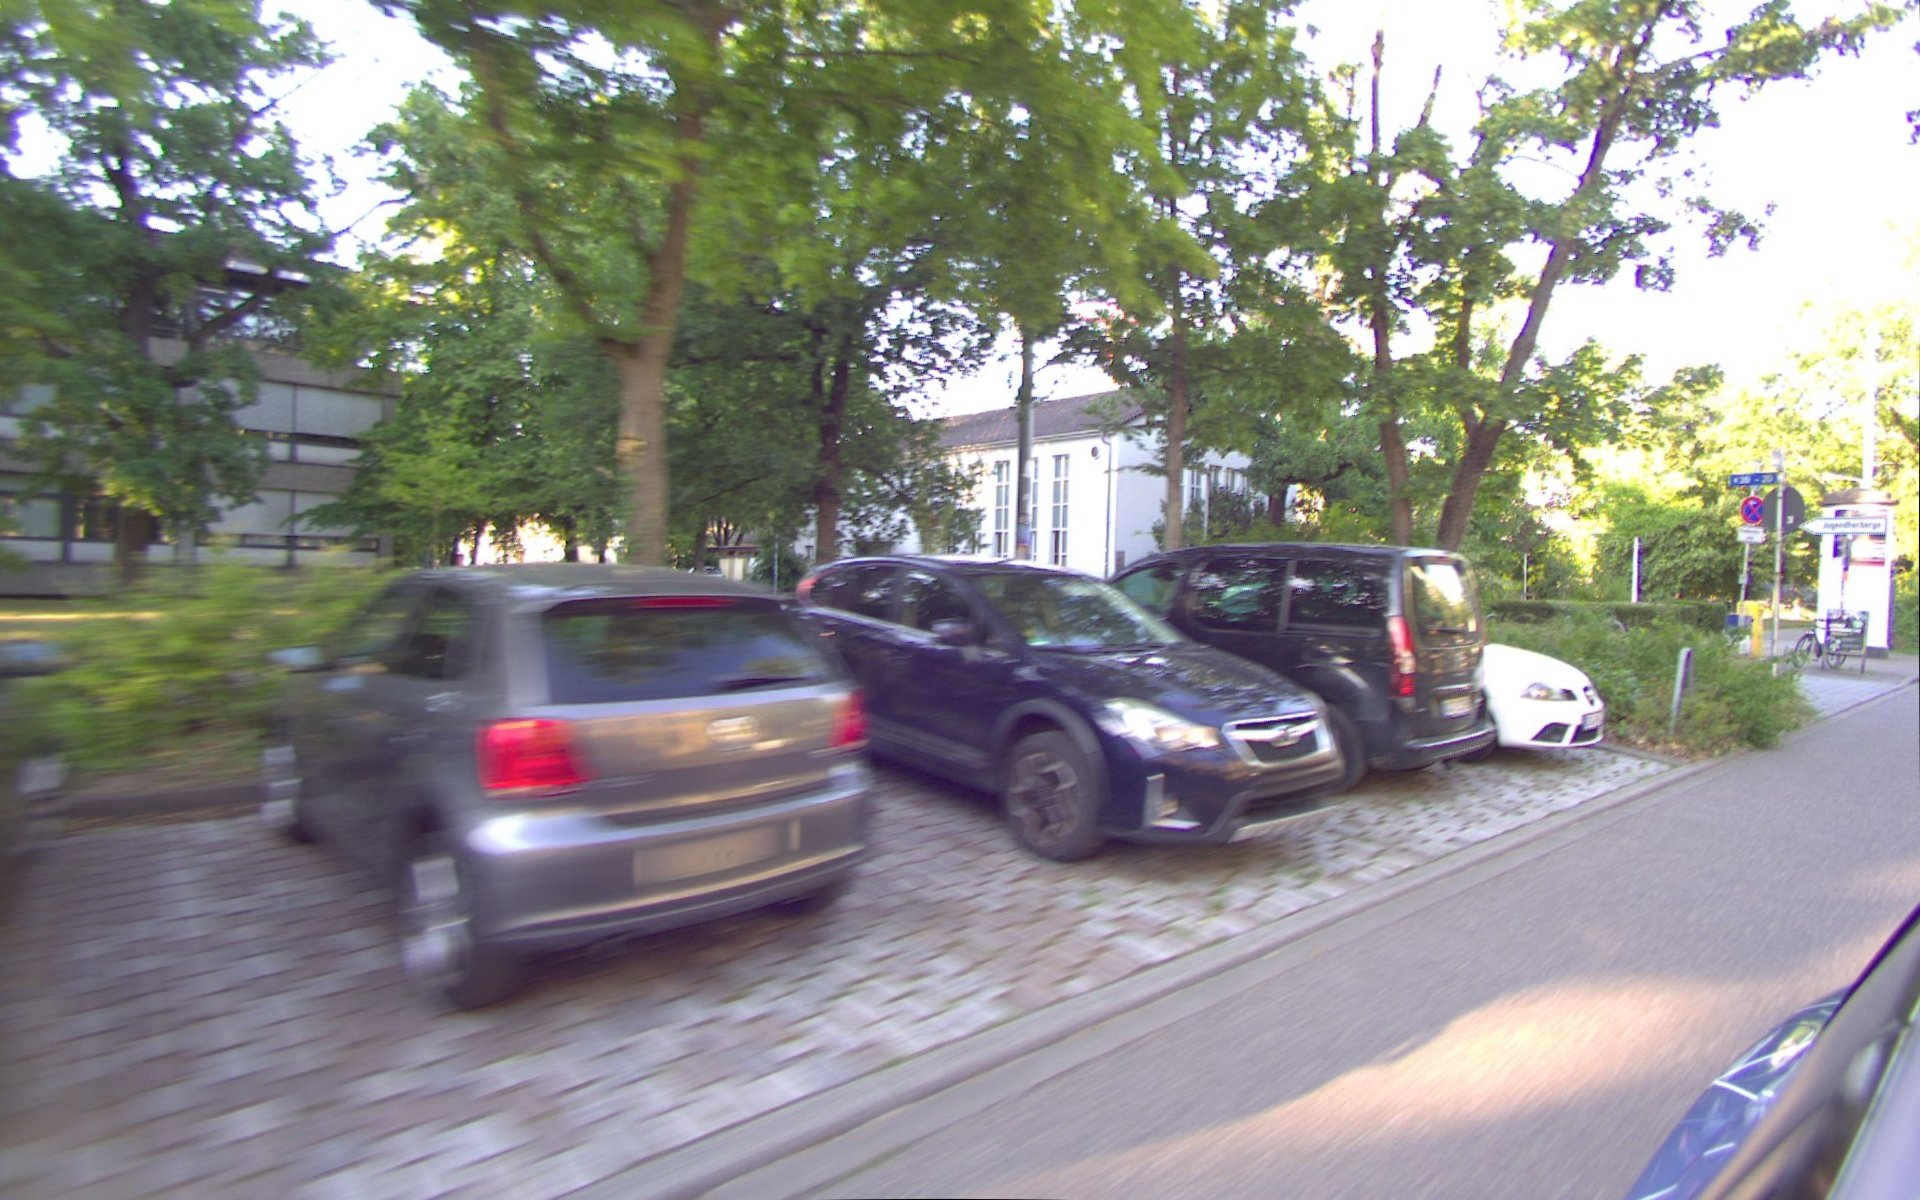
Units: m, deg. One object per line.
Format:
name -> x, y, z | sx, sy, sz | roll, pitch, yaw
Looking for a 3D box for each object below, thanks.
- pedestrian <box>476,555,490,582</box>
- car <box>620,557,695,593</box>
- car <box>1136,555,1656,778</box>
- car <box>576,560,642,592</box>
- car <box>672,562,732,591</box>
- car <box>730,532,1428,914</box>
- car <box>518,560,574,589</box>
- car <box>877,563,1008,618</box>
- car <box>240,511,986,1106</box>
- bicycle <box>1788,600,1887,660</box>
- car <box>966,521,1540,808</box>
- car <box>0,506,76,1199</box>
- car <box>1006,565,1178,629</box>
pedestrian -> -32.883, -2.177, 69.787 | 0.709, 1.860, 0.739 | 0, 1, -43
car -> -13.466, -1.114, 44.872 | 1.706, 1.495, 3.995 | 0, 2, -41
car -> 4.033, 0.441, 10.019 | 1.697, 1.572, 4.372 | 0, 4, -41
car -> -17.113, -1.193, 49.217 | 1.706, 1.495, 3.995 | 0, 2, -41
car -> -15.253, -1.378, 59.690 | 1.965, 1.627, 3.766 | 0, 2, -40
car -> 0.412, 0.420, 6.599 | 1.844, 1.572, 4.372 | 0, 4, -41
car -> -22.965, -1.434, 56.124 | 1.706, 1.495, 3.995 | 0, 2, -41
car -> -0.582, -0.310, 30.044 | 1.706, 1.495, 3.995 | 0, 2, -41
car -> -2.068, 0.405, 4.912 | 1.887, 1.556, 4.372 | 0, 4, -41
bicycle -> 18.289, 0.631, 21.084 | 2.237, 1.162, 0.495 | 2, 3, -21
car -> 2.233, 0.285, 8.728 | 1.887, 1.802, 4.372 | 0, 4, -41
car -> -3.838, 0.462, 2.951 | 1.887, 1.556, 4.372 | 0, 4, -41
car -> 3.240, -0.125, 25.482 | 1.803, 1.460, 4.147 | 0, 2, -41
